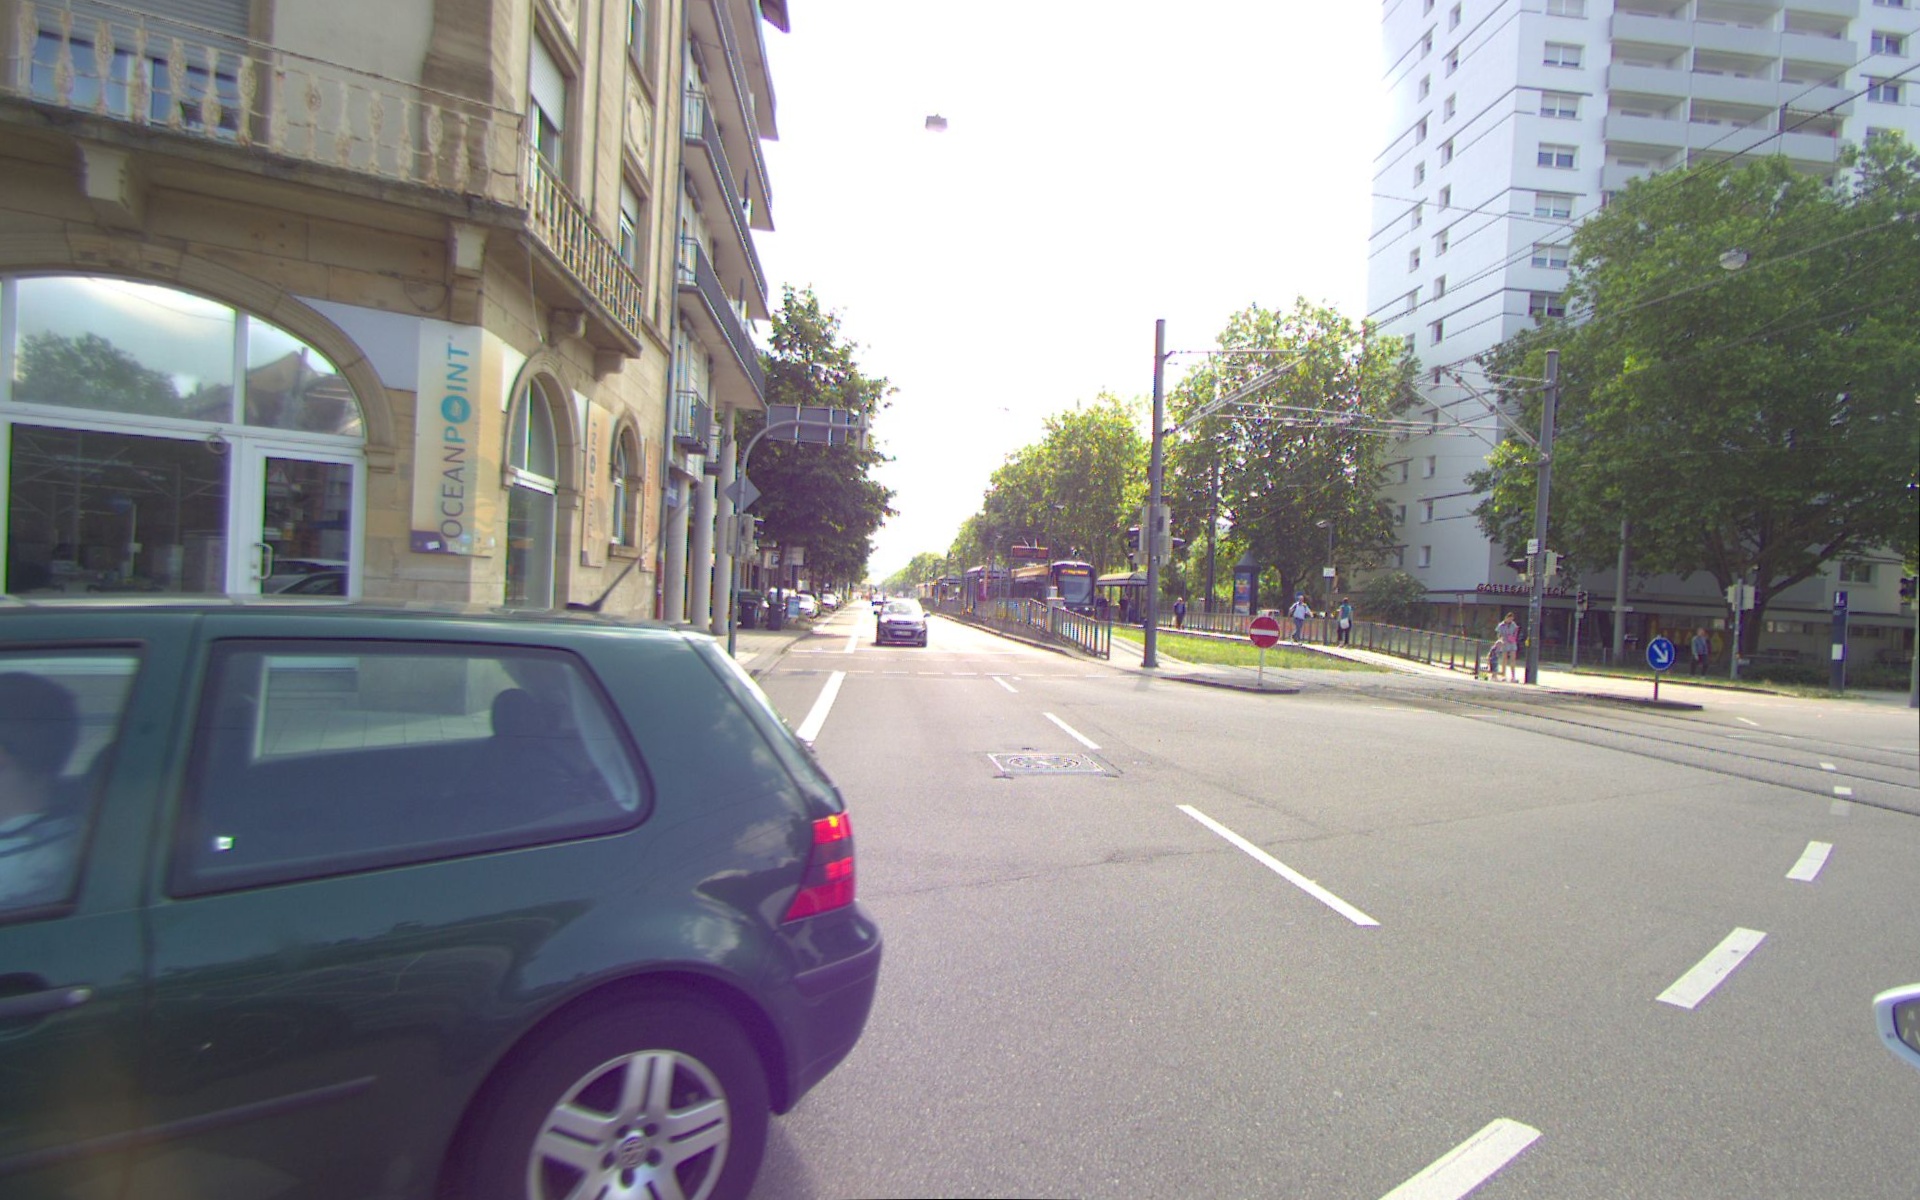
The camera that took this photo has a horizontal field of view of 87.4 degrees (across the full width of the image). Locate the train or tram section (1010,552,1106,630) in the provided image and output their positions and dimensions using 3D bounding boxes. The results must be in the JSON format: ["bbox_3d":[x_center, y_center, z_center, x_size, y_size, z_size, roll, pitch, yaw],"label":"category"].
[{"bbox_3d":[5.139,-0.461,55.667,2.763,3.631,13.005,3,0,-5],"label":"train or tram section"}]

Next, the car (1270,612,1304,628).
[{"bbox_3d":[32.610,1.967,100.208,1.779,1.421,4.043,3,0,-5],"label":"car"}]

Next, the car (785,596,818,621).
[{"bbox_3d":[-9.573,0.477,60.824,1.692,1.390,3.474,3,0,-5],"label":"car"}]

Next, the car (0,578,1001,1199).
[{"bbox_3d":[-1.953,0.693,2.174,3.775,1.452,1.704,2,-1,-32],"label":"car"}]

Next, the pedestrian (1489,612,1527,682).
[{"bbox_3d":[13.687,1.167,25.109,0.613,1.688,0.676,3,0,14],"label":"pedestrian"}]

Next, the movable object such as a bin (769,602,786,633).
[{"bbox_3d":[-6.925,0.661,38.043,0.582,1.132,0.787,3,0,-10],"label":"movable object such as a bin"}]

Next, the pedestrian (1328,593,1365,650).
[{"bbox_3d":[13.366,0.740,34.733,0.814,1.924,0.846,3,0,-5],"label":"pedestrian"}]

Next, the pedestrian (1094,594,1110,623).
[{"bbox_3d":[9.527,0.575,67.369,0.798,1.897,1.030,3,0,-6],"label":"pedestrian"}]

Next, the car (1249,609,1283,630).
[{"bbox_3d":[30.459,1.935,100.175,1.778,1.839,4.336,3,0,-3],"label":"car"}]

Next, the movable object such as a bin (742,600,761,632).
[{"bbox_3d":[-7.849,0.594,37.815,0.639,1.132,0.787,3,0,-10],"label":"movable object such as a bin"}]

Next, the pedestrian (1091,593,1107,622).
[{"bbox_3d":[9.196,0.492,66.455,0.701,1.825,1.131,3,0,-6],"label":"pedestrian"}]

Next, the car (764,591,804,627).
[{"bbox_3d":[-8.240,0.396,47.171,1.627,1.600,3.473,3,0,-7],"label":"car"}]

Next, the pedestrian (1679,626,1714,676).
[{"bbox_3d":[25.112,1.732,34.257,0.525,1.620,0.784,3,0,-8],"label":"pedestrian"}]

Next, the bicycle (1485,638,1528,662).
[{"bbox_3d":[26.096,2.364,47.982,1.695,1.022,0.534,3,0,22],"label":"bicycle"}]

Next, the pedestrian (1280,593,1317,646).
[{"bbox_3d":[11.934,0.681,35.448,0.835,1.804,1.044,3,0,-5],"label":"pedestrian"}]

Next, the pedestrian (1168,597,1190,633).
[{"bbox_3d":[11.476,0.773,52.630,0.844,1.798,0.876,3,0,-5],"label":"pedestrian"}]

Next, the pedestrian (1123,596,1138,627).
[{"bbox_3d":[10.525,0.707,61.998,0.690,1.874,0.788,3,0,-6],"label":"pedestrian"}]

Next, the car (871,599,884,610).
[{"bbox_3d":[-11.128,0.644,134.806,1.629,1.390,3.474,3,0,-5],"label":"car"}]

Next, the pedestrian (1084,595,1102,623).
[{"bbox_3d":[9.134,0.616,68.991,0.872,1.825,1.493,3,0,-6],"label":"pedestrian"}]

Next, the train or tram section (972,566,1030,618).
[{"bbox_3d":[3.038,-0.606,79.000,2.681,3.631,13.005,3,0,-5],"label":"train or tram section"}]

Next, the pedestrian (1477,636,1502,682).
[{"bbox_3d":[13.064,1.454,24.779,0.412,1.077,0.437,3,0,15],"label":"pedestrian"}]

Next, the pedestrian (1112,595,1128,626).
[{"bbox_3d":[9.834,0.629,61.772,0.690,1.874,0.907,3,0,-6],"label":"pedestrian"}]

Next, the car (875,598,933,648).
[{"bbox_3d":[-1.858,0.697,32.286,1.608,1.458,3.640,3,0,-6],"label":"car"}]

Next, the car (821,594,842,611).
[{"bbox_3d":[-11.455,0.240,89.609,1.692,1.390,3.474,3,0,-5],"label":"car"}]

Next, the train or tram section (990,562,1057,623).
[{"bbox_3d":[4.074,-0.494,67.314,2.752,3.631,10.395,3,0,-5],"label":"train or tram section"}]
